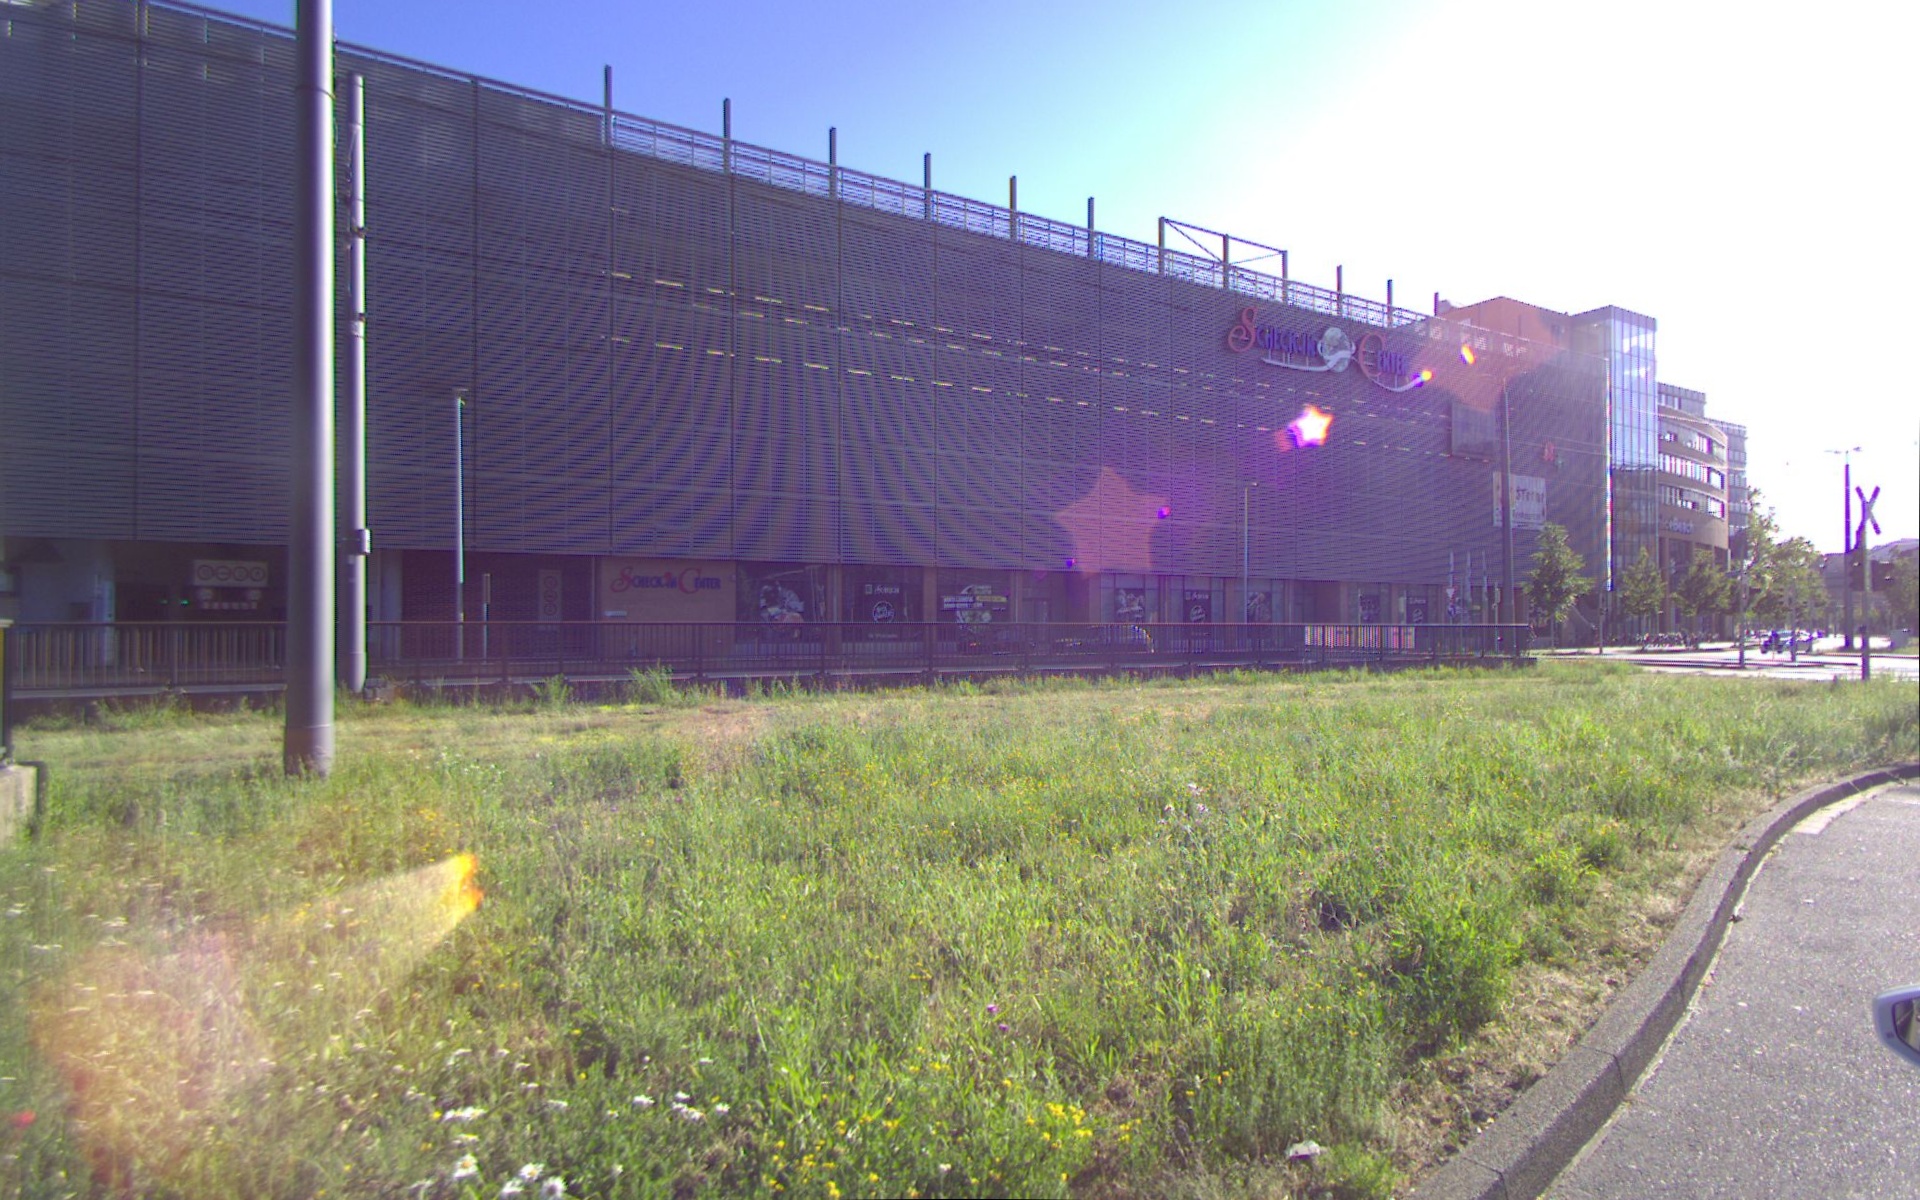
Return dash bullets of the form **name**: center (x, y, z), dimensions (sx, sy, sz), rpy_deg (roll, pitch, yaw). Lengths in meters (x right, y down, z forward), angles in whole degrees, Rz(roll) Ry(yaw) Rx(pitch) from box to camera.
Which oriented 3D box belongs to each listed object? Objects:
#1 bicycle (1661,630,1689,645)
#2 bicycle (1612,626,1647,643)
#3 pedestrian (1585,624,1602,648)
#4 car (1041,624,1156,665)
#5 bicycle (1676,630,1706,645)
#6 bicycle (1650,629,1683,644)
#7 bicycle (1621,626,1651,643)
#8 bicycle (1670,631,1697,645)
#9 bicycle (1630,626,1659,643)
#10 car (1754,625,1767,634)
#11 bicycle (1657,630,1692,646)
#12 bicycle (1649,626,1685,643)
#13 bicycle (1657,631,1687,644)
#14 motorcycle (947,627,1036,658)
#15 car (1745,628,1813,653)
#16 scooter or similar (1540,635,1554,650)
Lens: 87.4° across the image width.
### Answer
- **bicycle**: center (70.472, 3.684, 99.063), dimensions (0.707, 1.452, 2.242), rpy_deg (1, -2, -21)
- **bicycle**: center (57.997, 3.021, 87.044), dimensions (1.060, 1.452, 2.367), rpy_deg (1, -2, -21)
- **pedestrian**: center (50.777, 2.900, 80.565), dimensions (0.894, 1.848, 0.823), rpy_deg (2, -3, -28)
- **car**: center (5.477, 1.731, 39.622), dimensions (4.192, 1.520, 1.985), rpy_deg (1, -1, -30)
- **bicycle**: center (73.216, 3.784, 100.658), dimensions (0.777, 1.452, 2.417), rpy_deg (1, -2, -21)
- **bicycle**: center (68.681, 3.523, 97.655), dimensions (0.760, 1.452, 2.603), rpy_deg (1, -2, -21)
- **bicycle**: center (58.916, 2.989, 87.512), dimensions (0.848, 1.452, 2.080), rpy_deg (1, -2, -21)
- **bicycle**: center (72.153, 3.800, 100.181), dimensions (0.747, 1.452, 2.135), rpy_deg (1, -2, -21)
- **bicycle**: center (59.956, 3.018, 87.958), dimensions (0.795, 1.452, 1.975), rpy_deg (1, -2, -21)
- **car**: center (147.550, 5.435, 185.183), dimensions (1.627, 1.609, 3.350), rpy_deg (0, -1, 33)
- **bicycle**: center (64.909, 3.431, 91.307), dimensions (0.891, 1.452, 2.558), rpy_deg (1, -2, -21)
- **bicycle**: center (63.190, 3.114, 89.830), dimensions (0.891, 1.452, 2.558), rpy_deg (1, -2, -21)
- **bicycle**: center (69.818, 3.681, 98.510), dimensions (0.733, 1.252, 2.410), rpy_deg (1, -2, -21)
- **motorcycle**: center (1.563, 2.068, 49.405), dimensions (3.953, 1.472, 1.984), rpy_deg (1, -1, -30)
- **car**: center (53.014, 2.590, 65.004), dimensions (4.475, 1.566, 1.985), rpy_deg (1, -1, -30)
- **scooter or similar**: center (45.742, 3.324, 78.243), dimensions (1.138, 1.124, 0.419), rpy_deg (2, -3, -30)
